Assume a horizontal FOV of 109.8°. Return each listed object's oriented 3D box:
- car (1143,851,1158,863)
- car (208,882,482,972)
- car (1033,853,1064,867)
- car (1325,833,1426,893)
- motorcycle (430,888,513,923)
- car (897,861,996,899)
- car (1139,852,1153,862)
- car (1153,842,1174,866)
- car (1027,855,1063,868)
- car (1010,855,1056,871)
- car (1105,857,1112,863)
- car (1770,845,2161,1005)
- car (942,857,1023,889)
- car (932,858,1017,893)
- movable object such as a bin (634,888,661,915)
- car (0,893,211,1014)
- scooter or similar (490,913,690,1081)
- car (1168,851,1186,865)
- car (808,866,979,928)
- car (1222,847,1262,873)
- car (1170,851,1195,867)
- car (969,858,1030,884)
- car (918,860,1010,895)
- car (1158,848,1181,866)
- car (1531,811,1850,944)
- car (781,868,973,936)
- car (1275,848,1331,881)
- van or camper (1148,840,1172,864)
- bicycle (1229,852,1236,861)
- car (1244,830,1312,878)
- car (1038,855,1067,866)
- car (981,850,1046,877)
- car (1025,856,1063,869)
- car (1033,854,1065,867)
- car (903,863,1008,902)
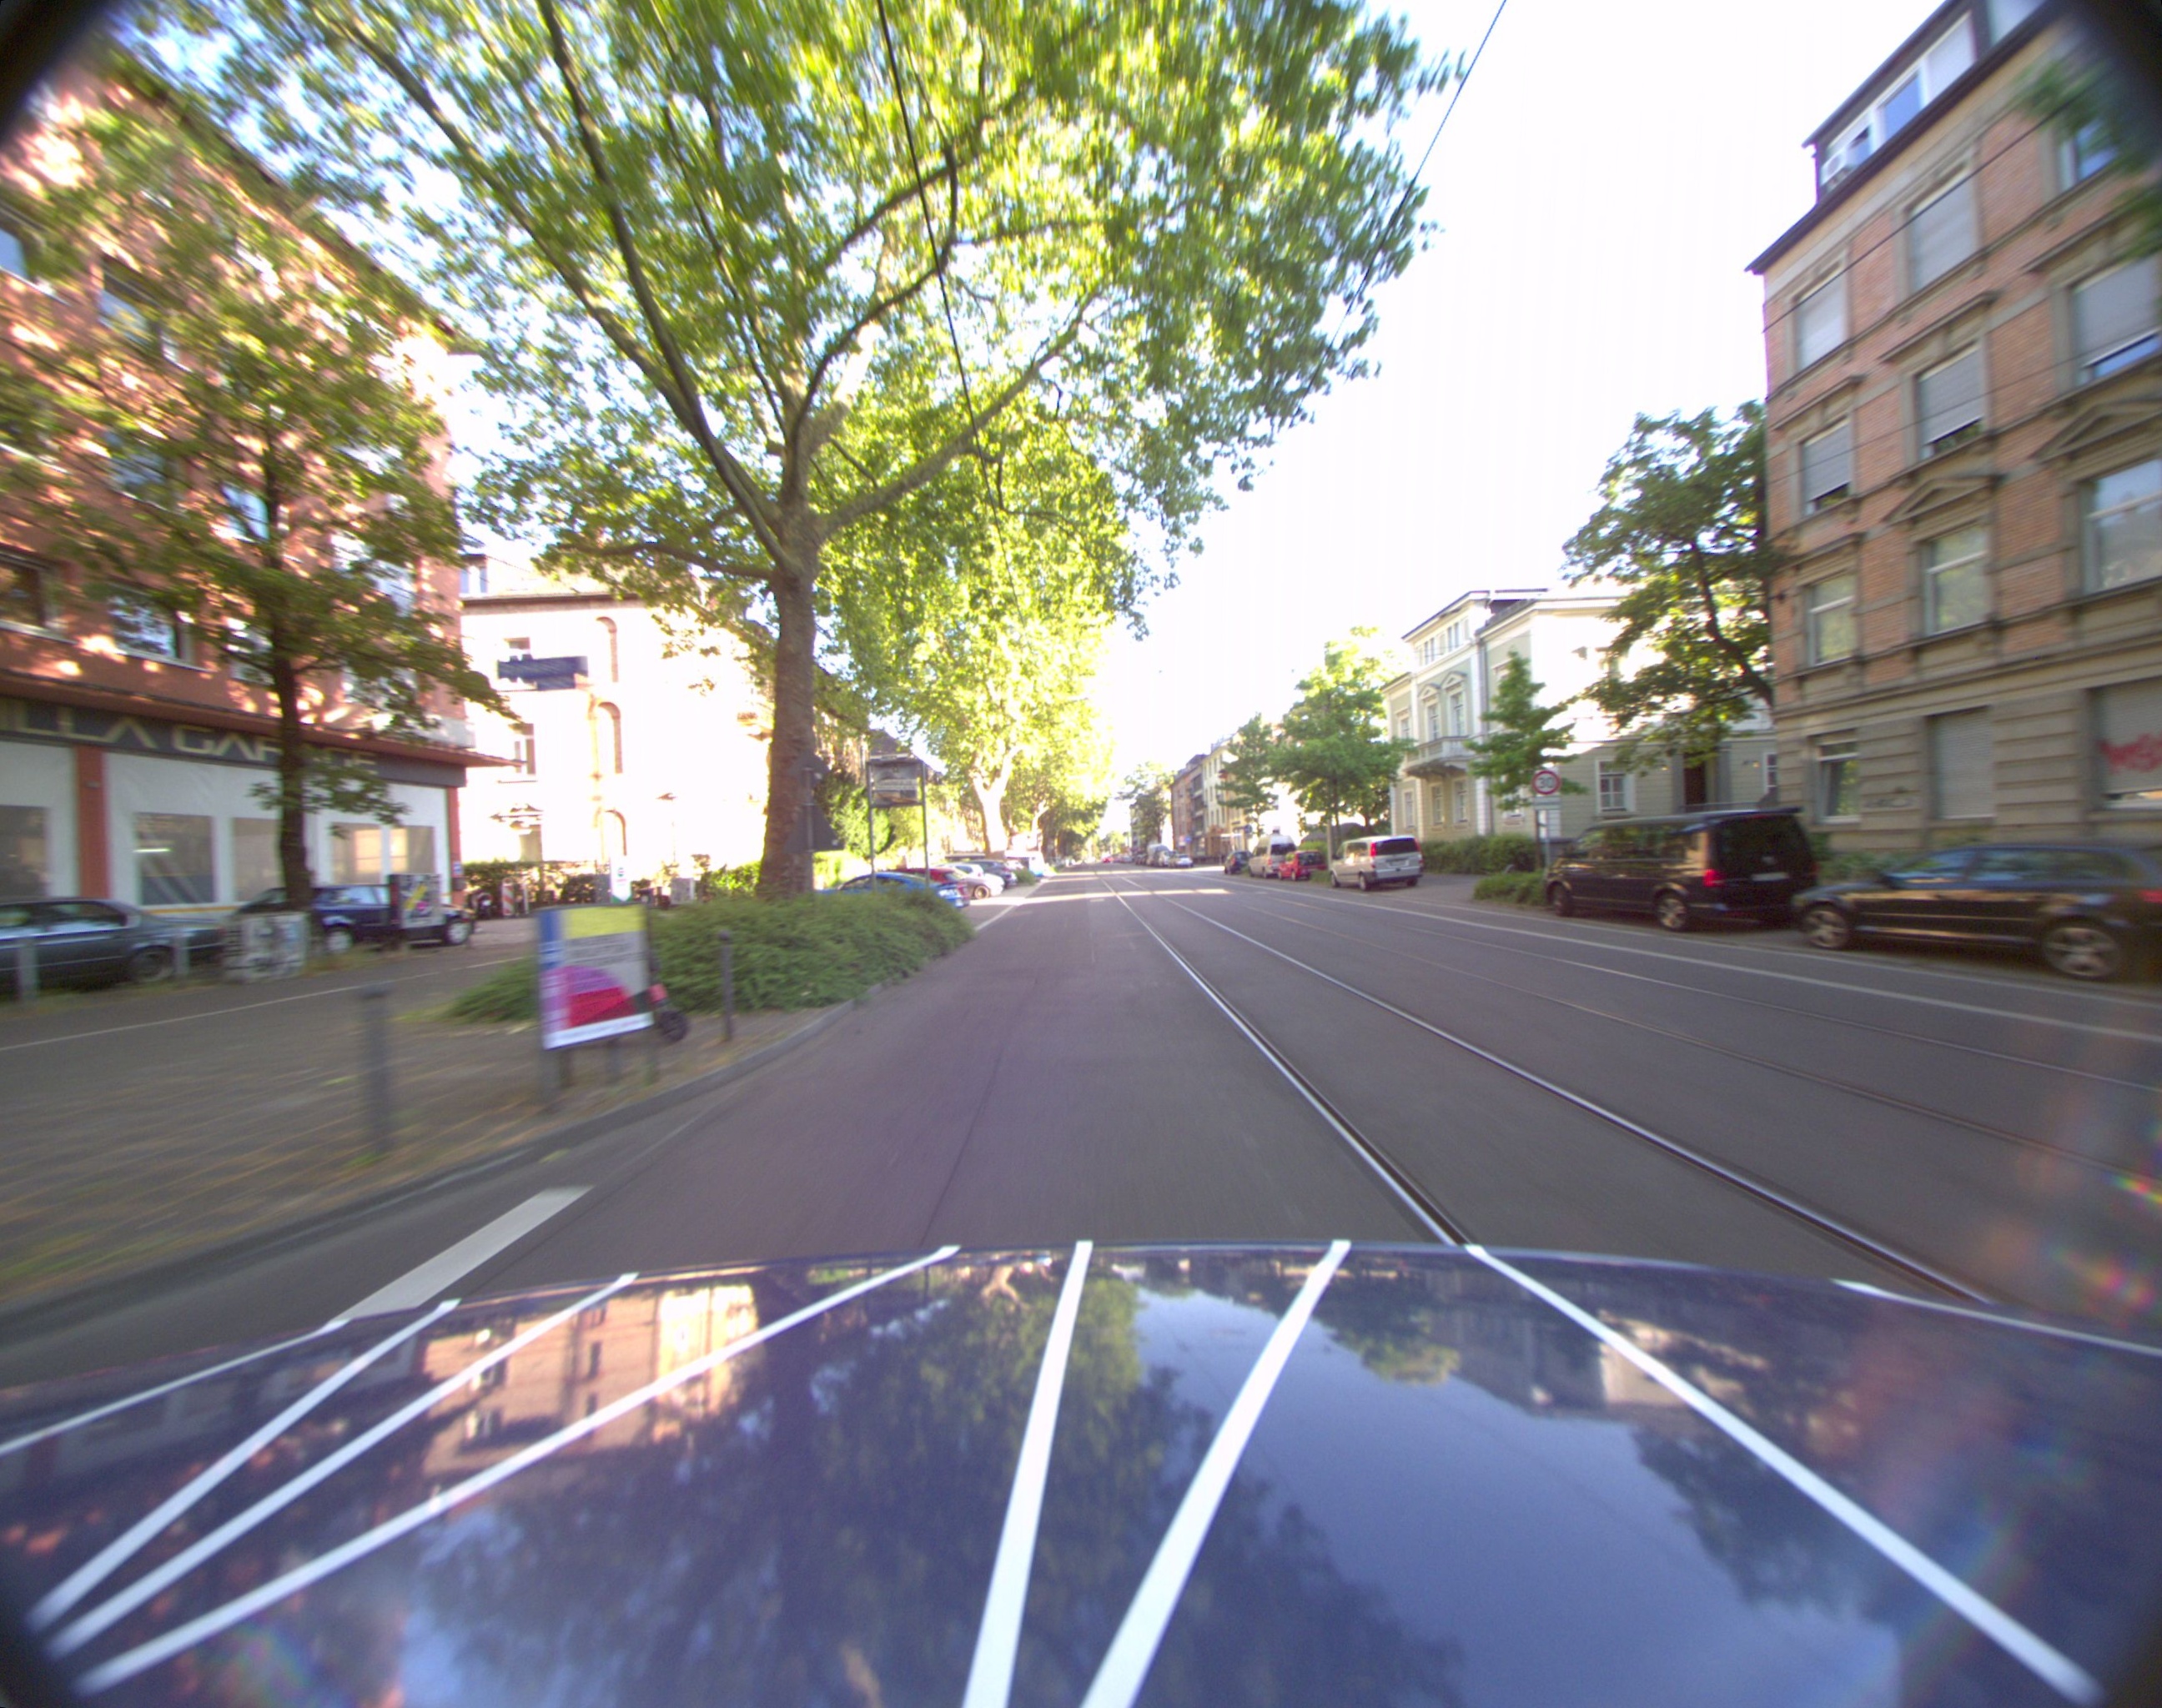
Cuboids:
[{"bbox_3d":[10.512,0.446,115.189,1.791,1.743,4.434,-3,0,-1],"label":"car"},{"bbox_3d":[-14.872,1.388,15.713,1.753,1.426,3.950,-2,0,0],"label":"car"},{"bbox_3d":[-5.196,0.944,121.145,4.636,2.001,1.893,-2,-1,3],"label":"car"},{"bbox_3d":[10.829,0.320,28.376,1.848,1.977,4.988,-2,0,1],"label":"car"},{"bbox_3d":[-21.573,1.817,26.917,2.382,1.096,0.808,-2,0,7],"label":"motorcycle"},{"bbox_3d":[-6.260,1.197,35.634,4.210,1.546,1.818,-2,0,2],"label":"car"},{"bbox_3d":[10.701,0.469,125.156,1.791,1.462,4.434,-3,0,-1],"label":"car"},{"bbox_3d":[10.482,-0.016,96.510,1.927,2.730,4.546,-6,0,0],"label":"car"},{"bbox_3d":[-4.784,1.007,101.727,4.611,1.631,1.893,-2,-1,3],"label":"car"},{"bbox_3d":[-5.119,0.957,81.719,4.810,1.621,1.893,-2,-1,0],"label":"car"},{"bbox_3d":[7.883,1.668,216.193,1.769,1.448,3.586,-2,0,0],"label":"car"},{"bbox_3d":[11.048,0.660,8.984,1.858,1.450,4.269,-2,0,-1],"label":"car"},{"bbox_3d":[-5.510,1.065,42.778,4.210,1.609,1.818,-2,0,2],"label":"car"},{"bbox_3d":[-5.541,1.111,40.033,4.211,1.609,1.878,-2,0,-3],"label":"car"},{"bbox_3d":[-15.488,1.693,27.134,0.658,0.934,0.447,-2,2,5],"label":"movable object such as a bin"},{"bbox_3d":[-14.773,1.367,9.862,1.753,1.426,4.468,-2,0,0],"label":"car"},{"bbox_3d":[-3.983,1.139,6.231,1.211,1.232,0.569,-2,1,-2],"label":"scooter or similar"},{"bbox_3d":[10.681,0.450,84.672,1.575,1.484,2.883,-3,0,0],"label":"car"},{"bbox_3d":[-5.368,1.217,22.187,4.413,1.534,1.952,-2,0,2],"label":"car"},{"bbox_3d":[11.076,0.384,52.638,1.997,1.680,4.262,-2,0,3],"label":"car"},{"bbox_3d":[10.636,0.537,79.923,1.776,1.484,4.940,-3,0,-3],"label":"car"},{"bbox_3d":[-5.254,1.075,49.409,3.792,1.609,1.790,-1,0,-2],"label":"car"},{"bbox_3d":[-5.758,1.147,37.764,4.210,1.565,1.818,-2,0,2],"label":"car"},{"bbox_3d":[10.521,0.359,90.456,1.928,2.034,4.941,-3,0,-1],"label":"car"},{"bbox_3d":[10.944,0.367,14.265,1.999,2.002,4.834,-2,0,-1],"label":"car"},{"bbox_3d":[-5.241,1.221,19.809,4.412,1.534,1.818,-2,0,7],"label":"car"},{"bbox_3d":[11.136,0.489,38.325,1.689,1.530,3.707,-2,0,0],"label":"car"},{"bbox_3d":[10.646,-0.272,103.257,2.423,2.960,5.991,-6,0,1],"label":"van or camper"},{"bbox_3d":[16.414,0.238,82.252,0.362,0.923,1.647,-2,0,0],"label":"bicycle"},{"bbox_3d":[11.163,0.010,43.503,2.310,2.493,5.343,-2,0,-2],"label":"car"},{"bbox_3d":[-4.796,1.134,126.665,4.611,1.631,1.893,-2,-1,3],"label":"car"},{"bbox_3d":[-5.092,0.719,58.099,4.859,2.002,2.193,-1,0,-3],"label":"car"},{"bbox_3d":[-4.697,1.090,97.096,4.611,1.485,1.893,-2,-1,3],"label":"car"},{"bbox_3d":[-4.813,0.955,114.915,4.611,1.781,1.893,-2,-1,3],"label":"car"},{"bbox_3d":[-5.376,1.219,32.949,4.210,1.439,1.817,-2,0,0],"label":"car"}]
